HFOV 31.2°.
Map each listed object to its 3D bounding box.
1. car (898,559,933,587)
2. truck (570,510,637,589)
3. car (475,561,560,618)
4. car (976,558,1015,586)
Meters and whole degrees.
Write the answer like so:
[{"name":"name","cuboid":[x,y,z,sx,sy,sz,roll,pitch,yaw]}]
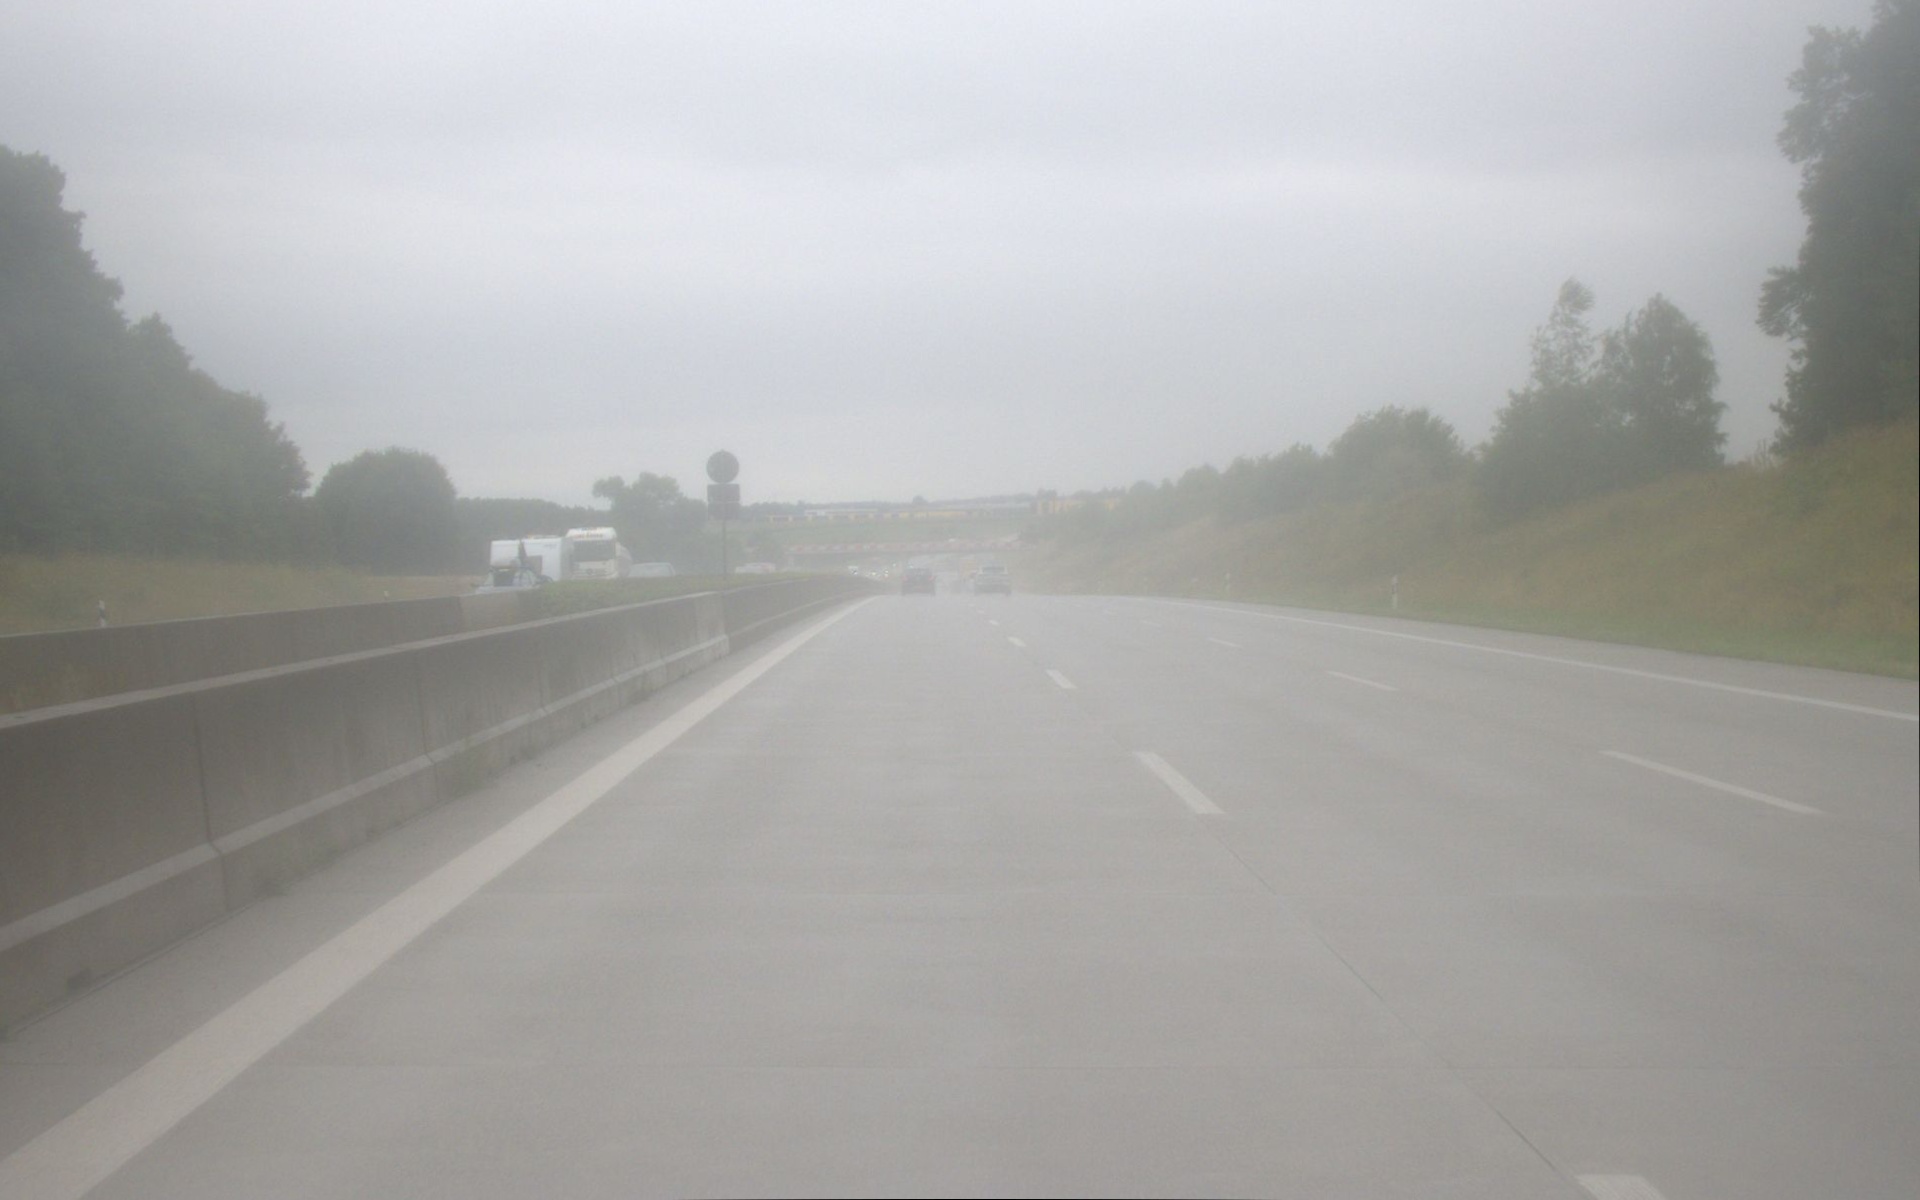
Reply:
[{"name":"car","cuboid":[-2.260,-1.376,174.539,1.729,1.326,4.430,0,2,0]},{"name":"truck","cuboid":[-18.049,-2.604,174.464,2.664,3.862,6.436,-1,1,0]},{"name":"car","cuboid":[-13.596,-0.324,105.863,1.993,1.638,5.410,-2,0,-1]},{"name":"car","cuboid":[1.797,-1.428,175.490,1.847,1.326,4.430,0,2,-1]}]
